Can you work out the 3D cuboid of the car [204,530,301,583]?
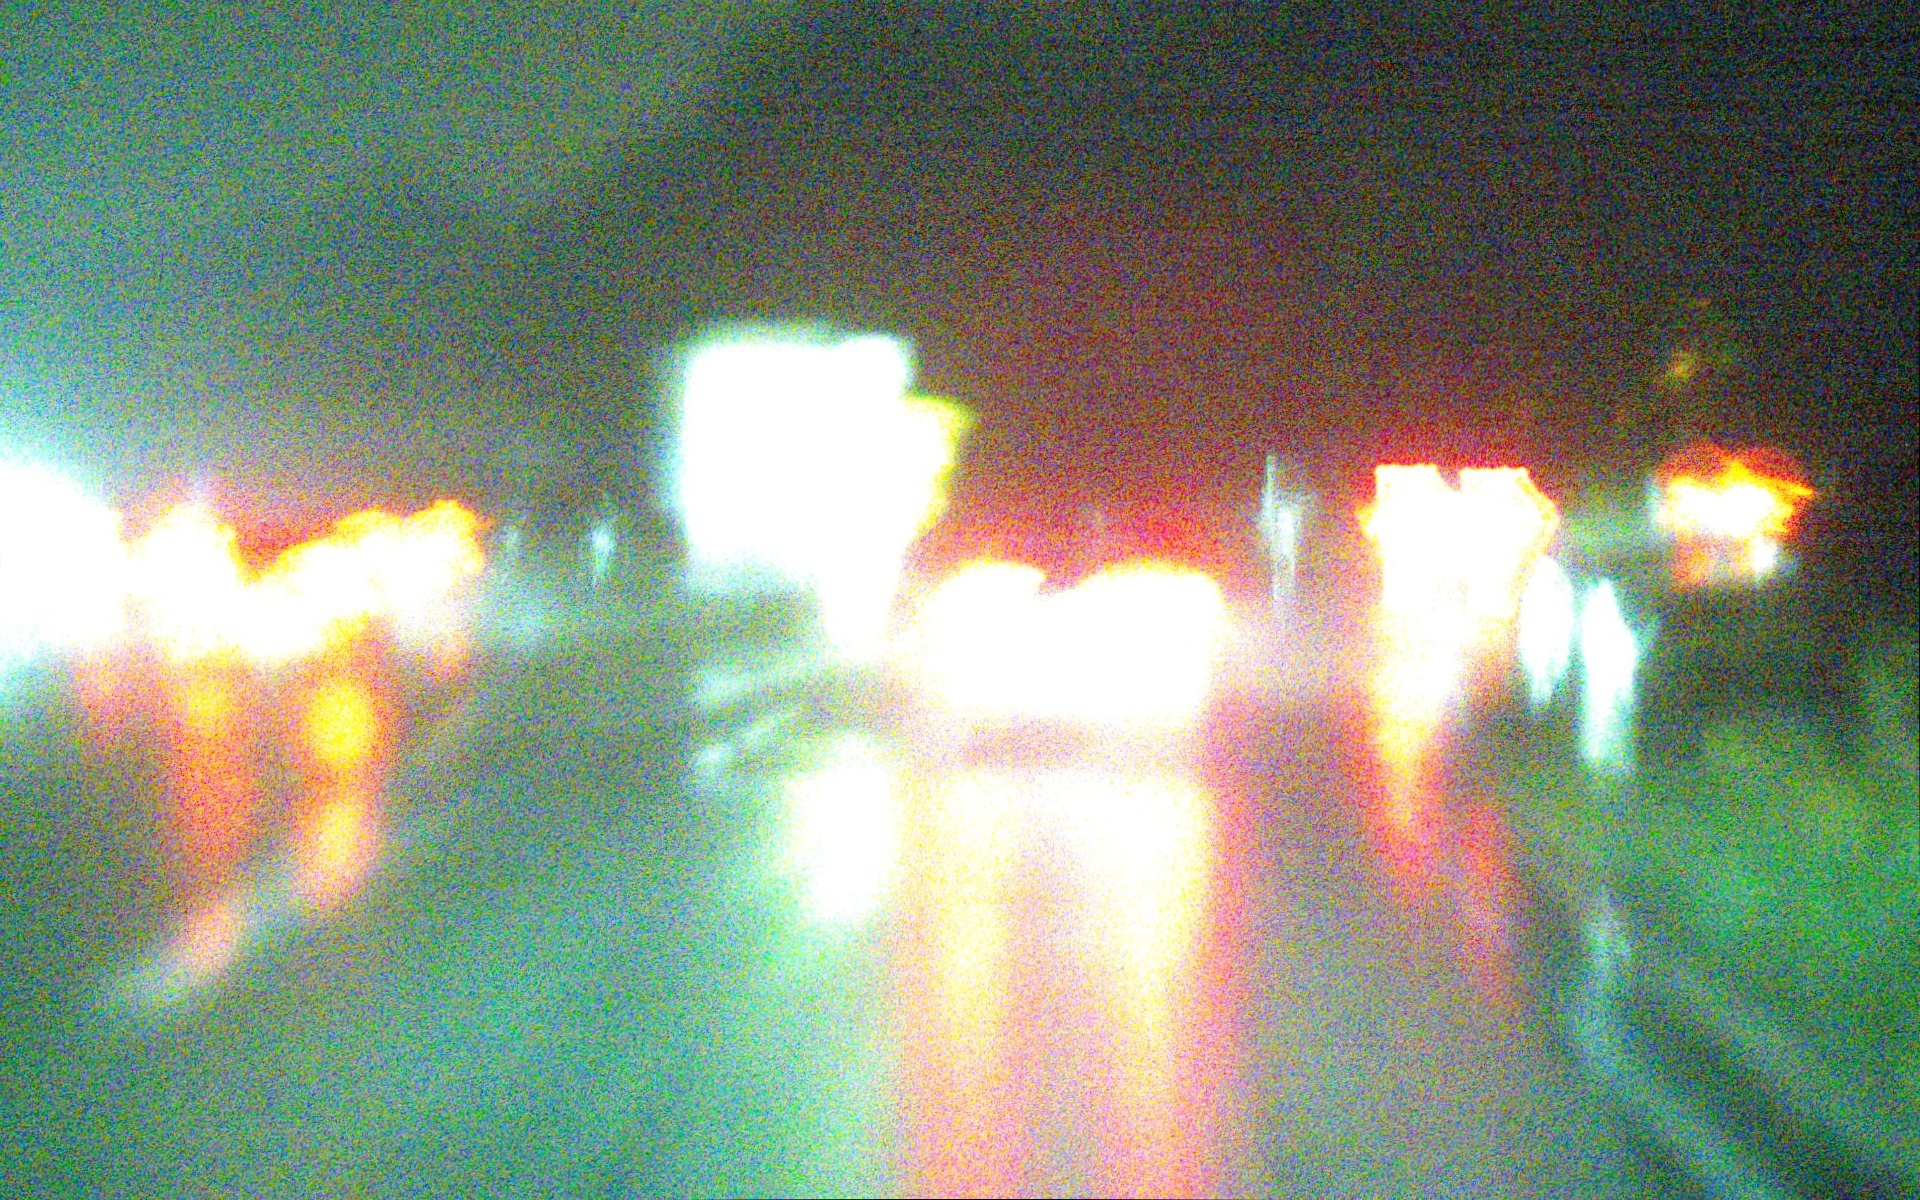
[{"bbox_3d":[-21.438,-1.311,104.317,1.892,1.545,4.000,-1,1,3],"label":"car"}]

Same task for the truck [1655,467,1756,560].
[{"bbox_3d":[16.915,-1.933,77.833,2.072,2.007,4.878,-1,1,14],"label":"truck"}]

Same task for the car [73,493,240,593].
[{"bbox_3d":[-12.857,-0.923,55.243,1.767,1.512,4.915,-1,1,-3],"label":"car"}]

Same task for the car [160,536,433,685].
[{"bbox_3d":[-6.460,0.073,33.897,1.962,1.376,4.049,0,1,-1],"label":"car"}]

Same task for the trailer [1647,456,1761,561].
[{"bbox_3d":[15.725,-1.858,72.305,2.079,2.007,10.641,-1,1,14],"label":"trailer"}]
